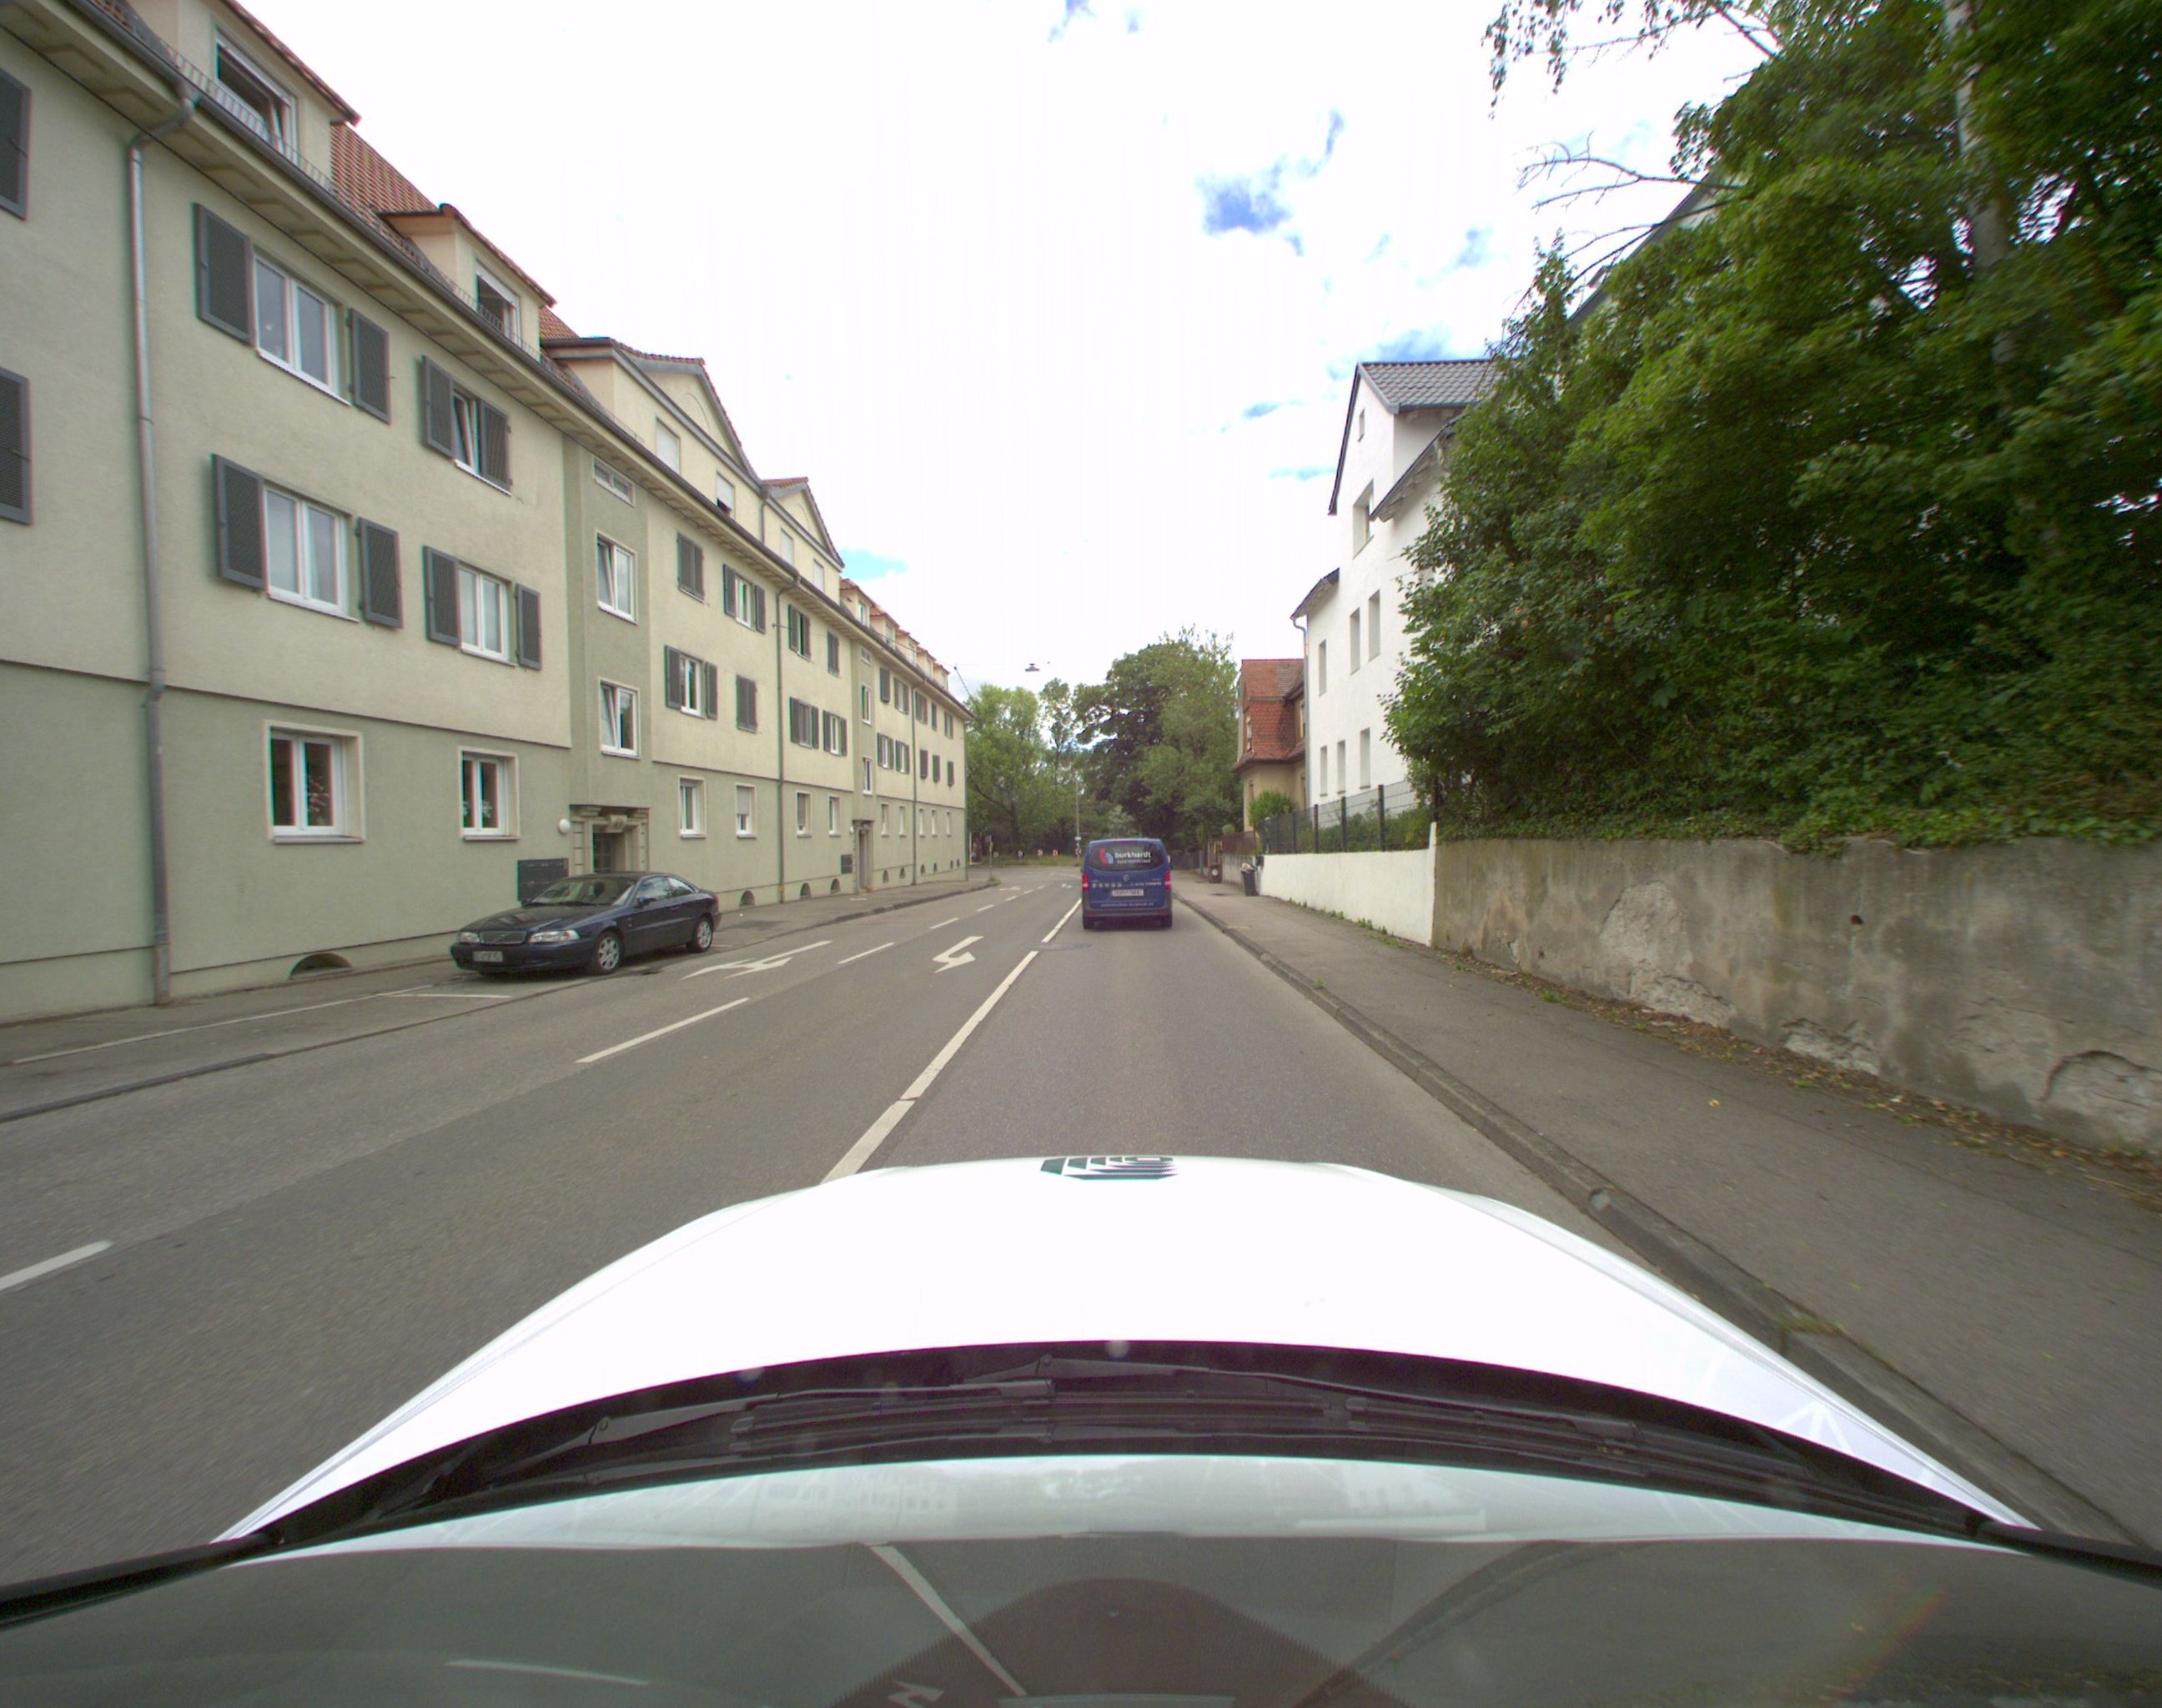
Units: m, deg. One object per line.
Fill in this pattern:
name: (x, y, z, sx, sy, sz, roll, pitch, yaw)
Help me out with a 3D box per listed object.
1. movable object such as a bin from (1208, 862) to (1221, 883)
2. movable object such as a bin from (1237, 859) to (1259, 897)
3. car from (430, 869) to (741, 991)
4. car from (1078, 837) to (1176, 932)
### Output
movable object such as a bin: (6.110, 0.851, 37.269, 0.459, 0.924, 0.566, -5, 0, 1)
movable object such as a bin: (5.526, 0.786, 26.928, 0.526, 1.178, 0.635, -5, 0, 1)
car: (-7.273, 1.005, 12.711, 1.704, 1.403, 4.848, -1, 0, 2)
car: (0.927, 0.606, 18.245, 1.907, 1.837, 4.294, -1, 0, 0)
